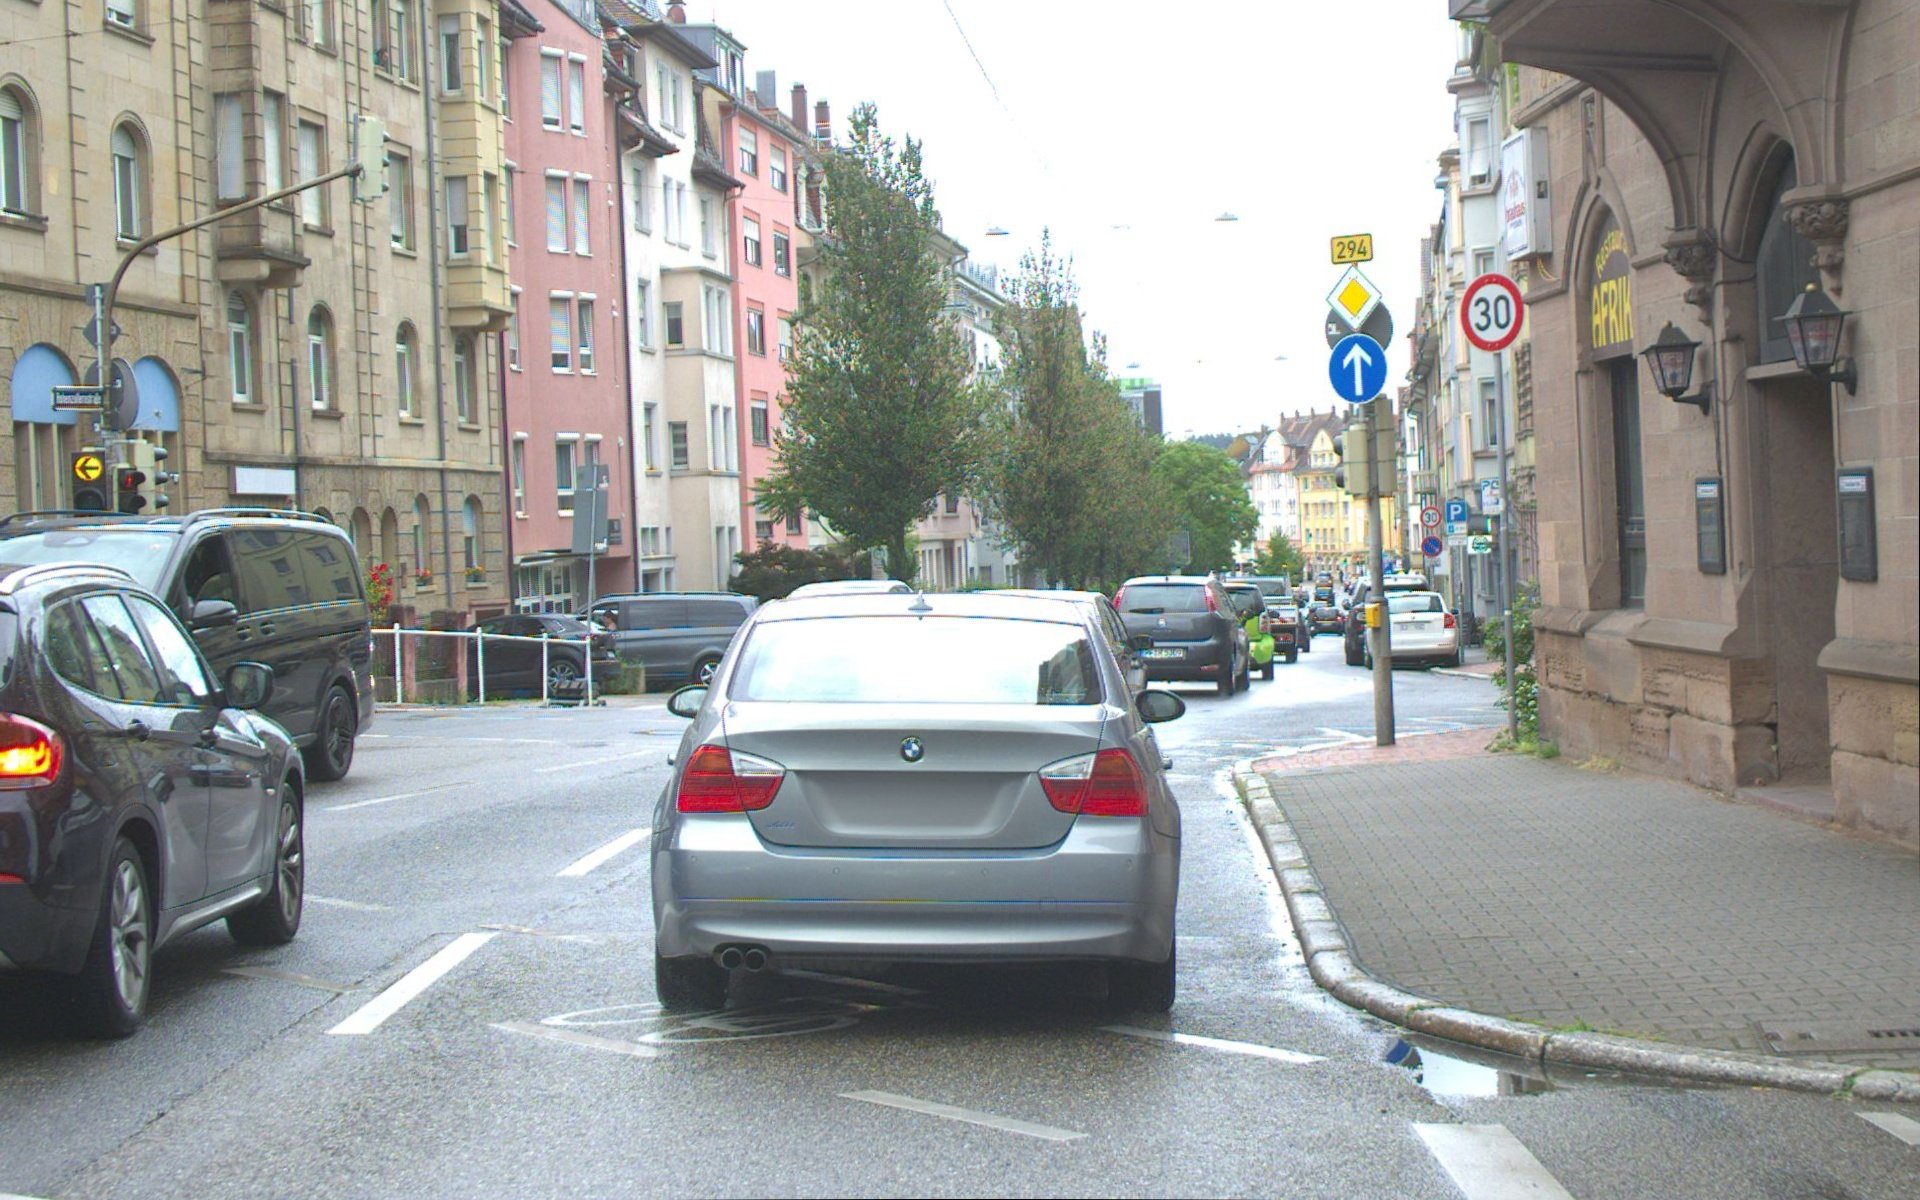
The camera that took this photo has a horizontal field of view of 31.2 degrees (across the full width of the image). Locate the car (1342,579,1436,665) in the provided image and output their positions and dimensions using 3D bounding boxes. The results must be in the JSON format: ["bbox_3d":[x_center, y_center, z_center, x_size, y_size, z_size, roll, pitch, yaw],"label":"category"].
[{"bbox_3d":[8.928,0.454,71.786,1.879,1.726,4.675,0,0,7],"label":"car"}]

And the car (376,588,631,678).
[{"bbox_3d":[-8.117,0.580,61.345,4.148,1.505,1.873,-1,0,7],"label":"car"}]

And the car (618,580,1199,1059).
[{"bbox_3d":[-0.222,0.657,12.373,1.769,1.423,3.741,0,1,-2],"label":"car"}]

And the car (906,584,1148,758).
[{"bbox_3d":[0.645,0.598,30.013,1.682,1.423,3.739,0,0,8],"label":"car"}]

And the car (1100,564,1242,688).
[{"bbox_3d":[2.630,0.335,43.167,1.697,1.478,3.793,0,-1,3],"label":"car"}]

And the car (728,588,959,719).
[{"bbox_3d":[-1.399,0.629,42.881,1.626,1.513,3.867,0,1,19],"label":"car"}]

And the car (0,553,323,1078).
[{"bbox_3d":[-3.477,0.653,12.118,1.752,1.530,4.215,0,-1,-1],"label":"car"}]

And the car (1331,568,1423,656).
[{"bbox_3d":[9.418,0.270,77.755,1.920,1.821,5.008,-3,0,7],"label":"car"}]

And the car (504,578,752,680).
[{"bbox_3d":[-6.370,0.550,66.395,4.674,1.932,1.863,0,0,-3],"label":"car"}]

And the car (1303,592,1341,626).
[{"bbox_3d":[18.295,0.443,173.688,1.879,1.725,4.675,0,0,7],"label":"car"}]

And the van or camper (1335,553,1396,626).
[{"bbox_3d":[16.634,-0.433,140.843,2.034,2.859,6.882,1,0,10],"label":"van or camper"}]

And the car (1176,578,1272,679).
[{"bbox_3d":[4.228,0.462,55.438,1.449,1.560,3.332,0,-1,3],"label":"car"}]

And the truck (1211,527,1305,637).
[{"bbox_3d":[6.812,-0.378,78.332,2.032,2.404,4.825,0,-1,6],"label":"truck"}]

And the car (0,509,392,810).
[{"bbox_3d":[-5.389,0.376,23.540,1.743,1.840,4.145,-2,0,8],"label":"car"}]

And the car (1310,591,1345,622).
[{"bbox_3d":[20.795,0.343,194.430,1.879,1.725,4.439,0,0,7],"label":"car"}]

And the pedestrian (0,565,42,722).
[{"bbox_3d":[-10.453,0.469,37.369,0.826,1.696,0.639,0,0,-23],"label":"pedestrian"}]

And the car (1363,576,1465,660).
[{"bbox_3d":[8.708,0.338,66.203,1.799,1.559,4.491,0,0,6],"label":"car"}]
